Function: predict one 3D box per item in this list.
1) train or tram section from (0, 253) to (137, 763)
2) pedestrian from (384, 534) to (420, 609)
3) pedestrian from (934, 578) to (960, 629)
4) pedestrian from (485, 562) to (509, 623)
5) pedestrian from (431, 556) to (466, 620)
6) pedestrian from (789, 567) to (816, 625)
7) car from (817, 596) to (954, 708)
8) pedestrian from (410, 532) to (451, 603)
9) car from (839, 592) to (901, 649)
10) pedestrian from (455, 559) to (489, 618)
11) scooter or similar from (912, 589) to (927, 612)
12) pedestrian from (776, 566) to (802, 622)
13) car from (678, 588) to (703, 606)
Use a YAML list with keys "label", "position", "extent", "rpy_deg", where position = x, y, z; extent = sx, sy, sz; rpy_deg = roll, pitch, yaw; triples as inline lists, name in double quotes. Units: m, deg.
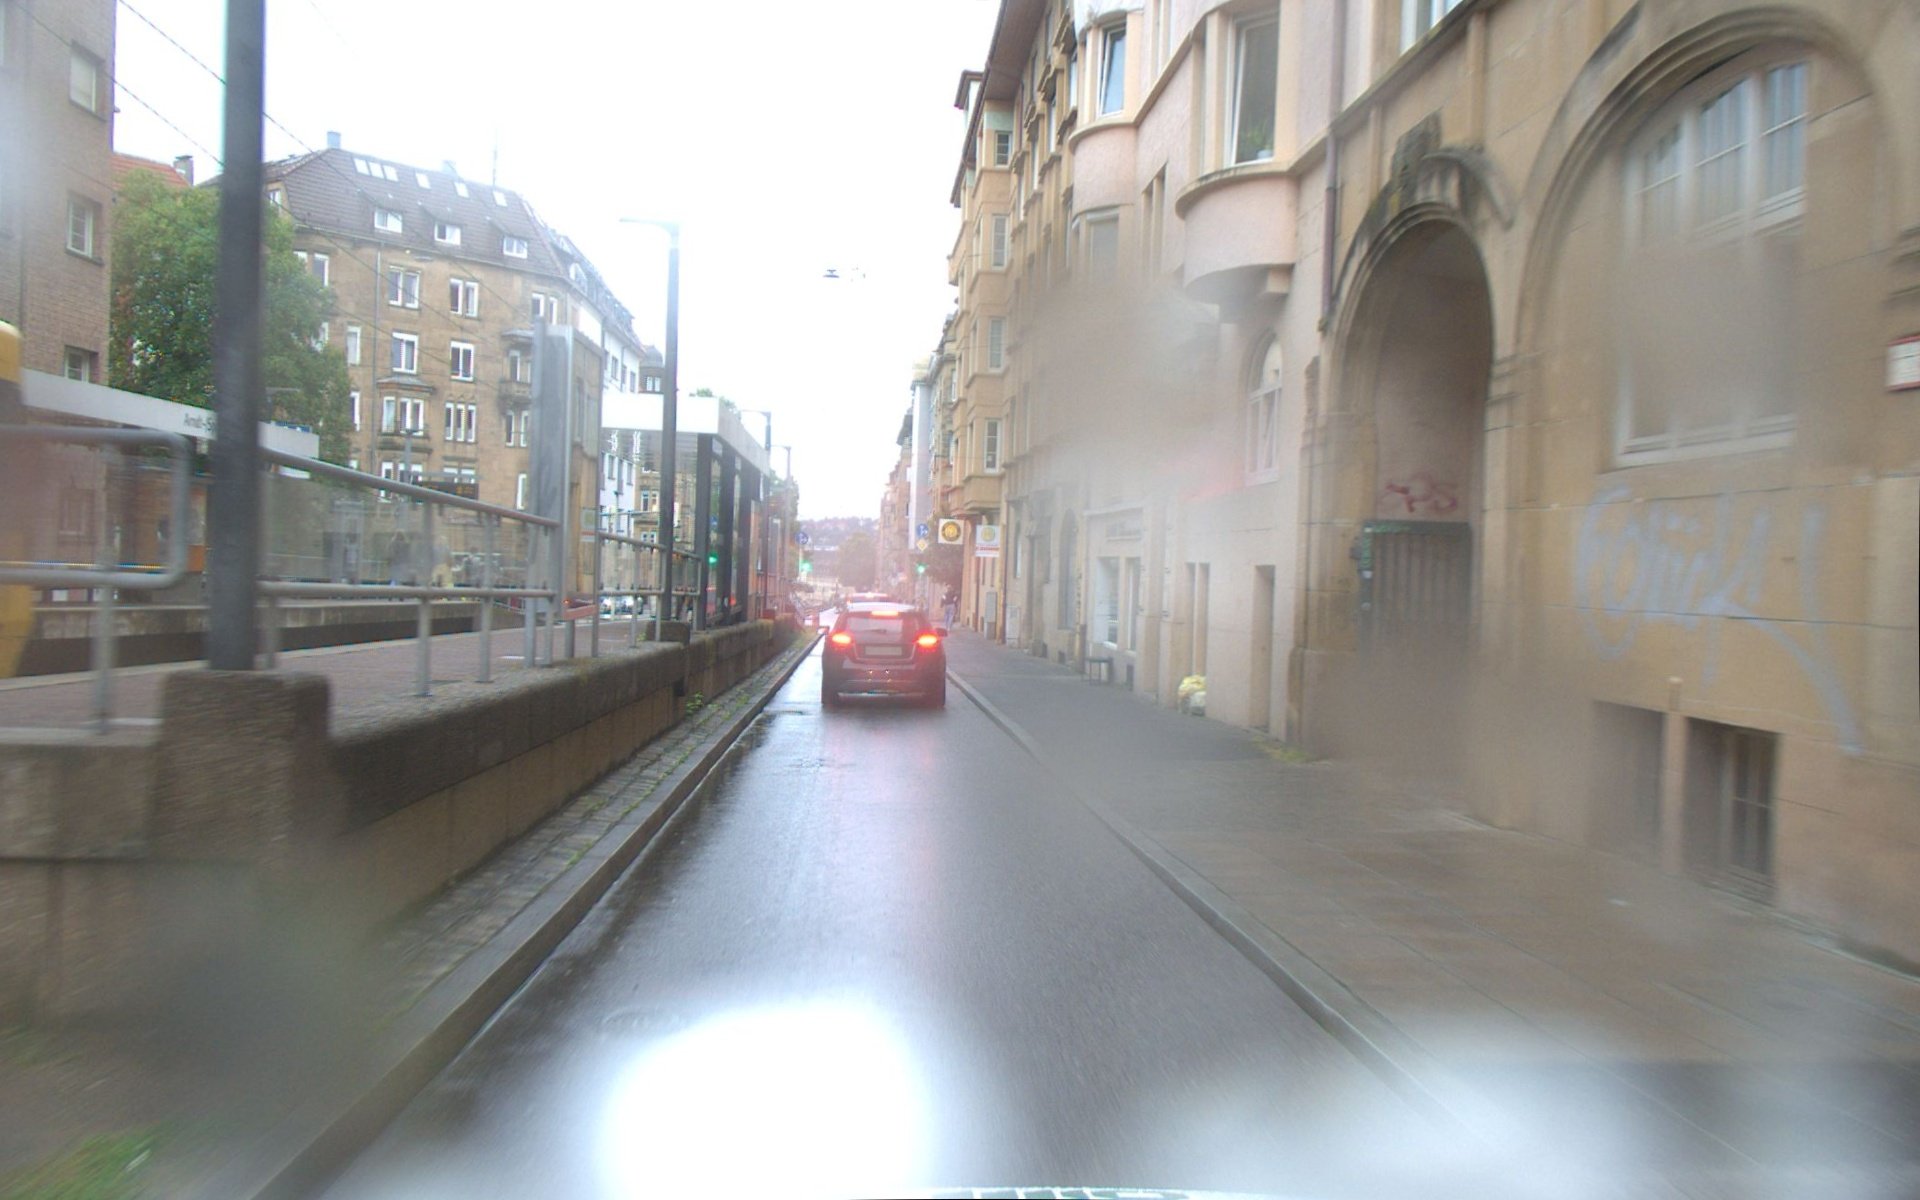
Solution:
- label: "train or tram section"
  position: [-8.367, -0.717, 5.374]
  extent: [2.661, 3.989, 19.847]
  rpy_deg: [1, 0, -4]
- label: "pedestrian"
  position: [-13.076, -0.659, 38.761]
  extent: [0.652, 1.728, 0.687]
  rpy_deg: [0, -1, -7]
- label: "pedestrian"
  position: [-0.494, 0.121, 63.219]
  extent: [0.881, 1.872, 0.968]
  rpy_deg: [-3, 0, -1]
- label: "pedestrian"
  position: [-14.113, -0.233, 50.410]
  extent: [0.500, 1.850, 0.799]
  rpy_deg: [1, 0, -4]
- label: "pedestrian"
  position: [-13.413, -0.314, 43.352]
  extent: [0.729, 1.676, 0.640]
  rpy_deg: [-1, 0, -4]
- label: "pedestrian"
  position: [-5.697, -0.139, 59.886]
  extent: [0.907, 2.049, 0.947]
  rpy_deg: [1, 0, -4]
- label: "car"
  position: [-1.105, 0.702, 24.403]
  extent: [1.829, 1.477, 3.998]
  rpy_deg: [1, 0, -3]
- label: "pedestrian"
  position: [-13.145, -0.808, 41.103]
  extent: [0.729, 1.726, 0.882]
  rpy_deg: [1, -1, -3]
- label: "car"
  position: [-2.447, 0.531, 45.716]
  extent: [1.616, 1.477, 3.999]
  rpy_deg: [1, 0, -2]
- label: "pedestrian"
  position: [-13.442, -0.302, 45.557]
  extent: [0.679, 1.611, 0.955]
  rpy_deg: [1, -1, -4]
- label: "scooter or similar"
  position: [-2.254, 0.031, 91.977]
  extent: [0.626, 1.231, 1.550]
  rpy_deg: [-1, 0, -8]
- label: "pedestrian"
  position: [-6.300, -0.212, 60.962]
  extent: [0.879, 2.049, 0.947]
  rpy_deg: [1, 0, -4]
- label: "car"
  position: [-24.570, -0.290, 150.872]
  extent: [1.687, 1.568, 3.932]
  rpy_deg: [-1, 0, -2]
